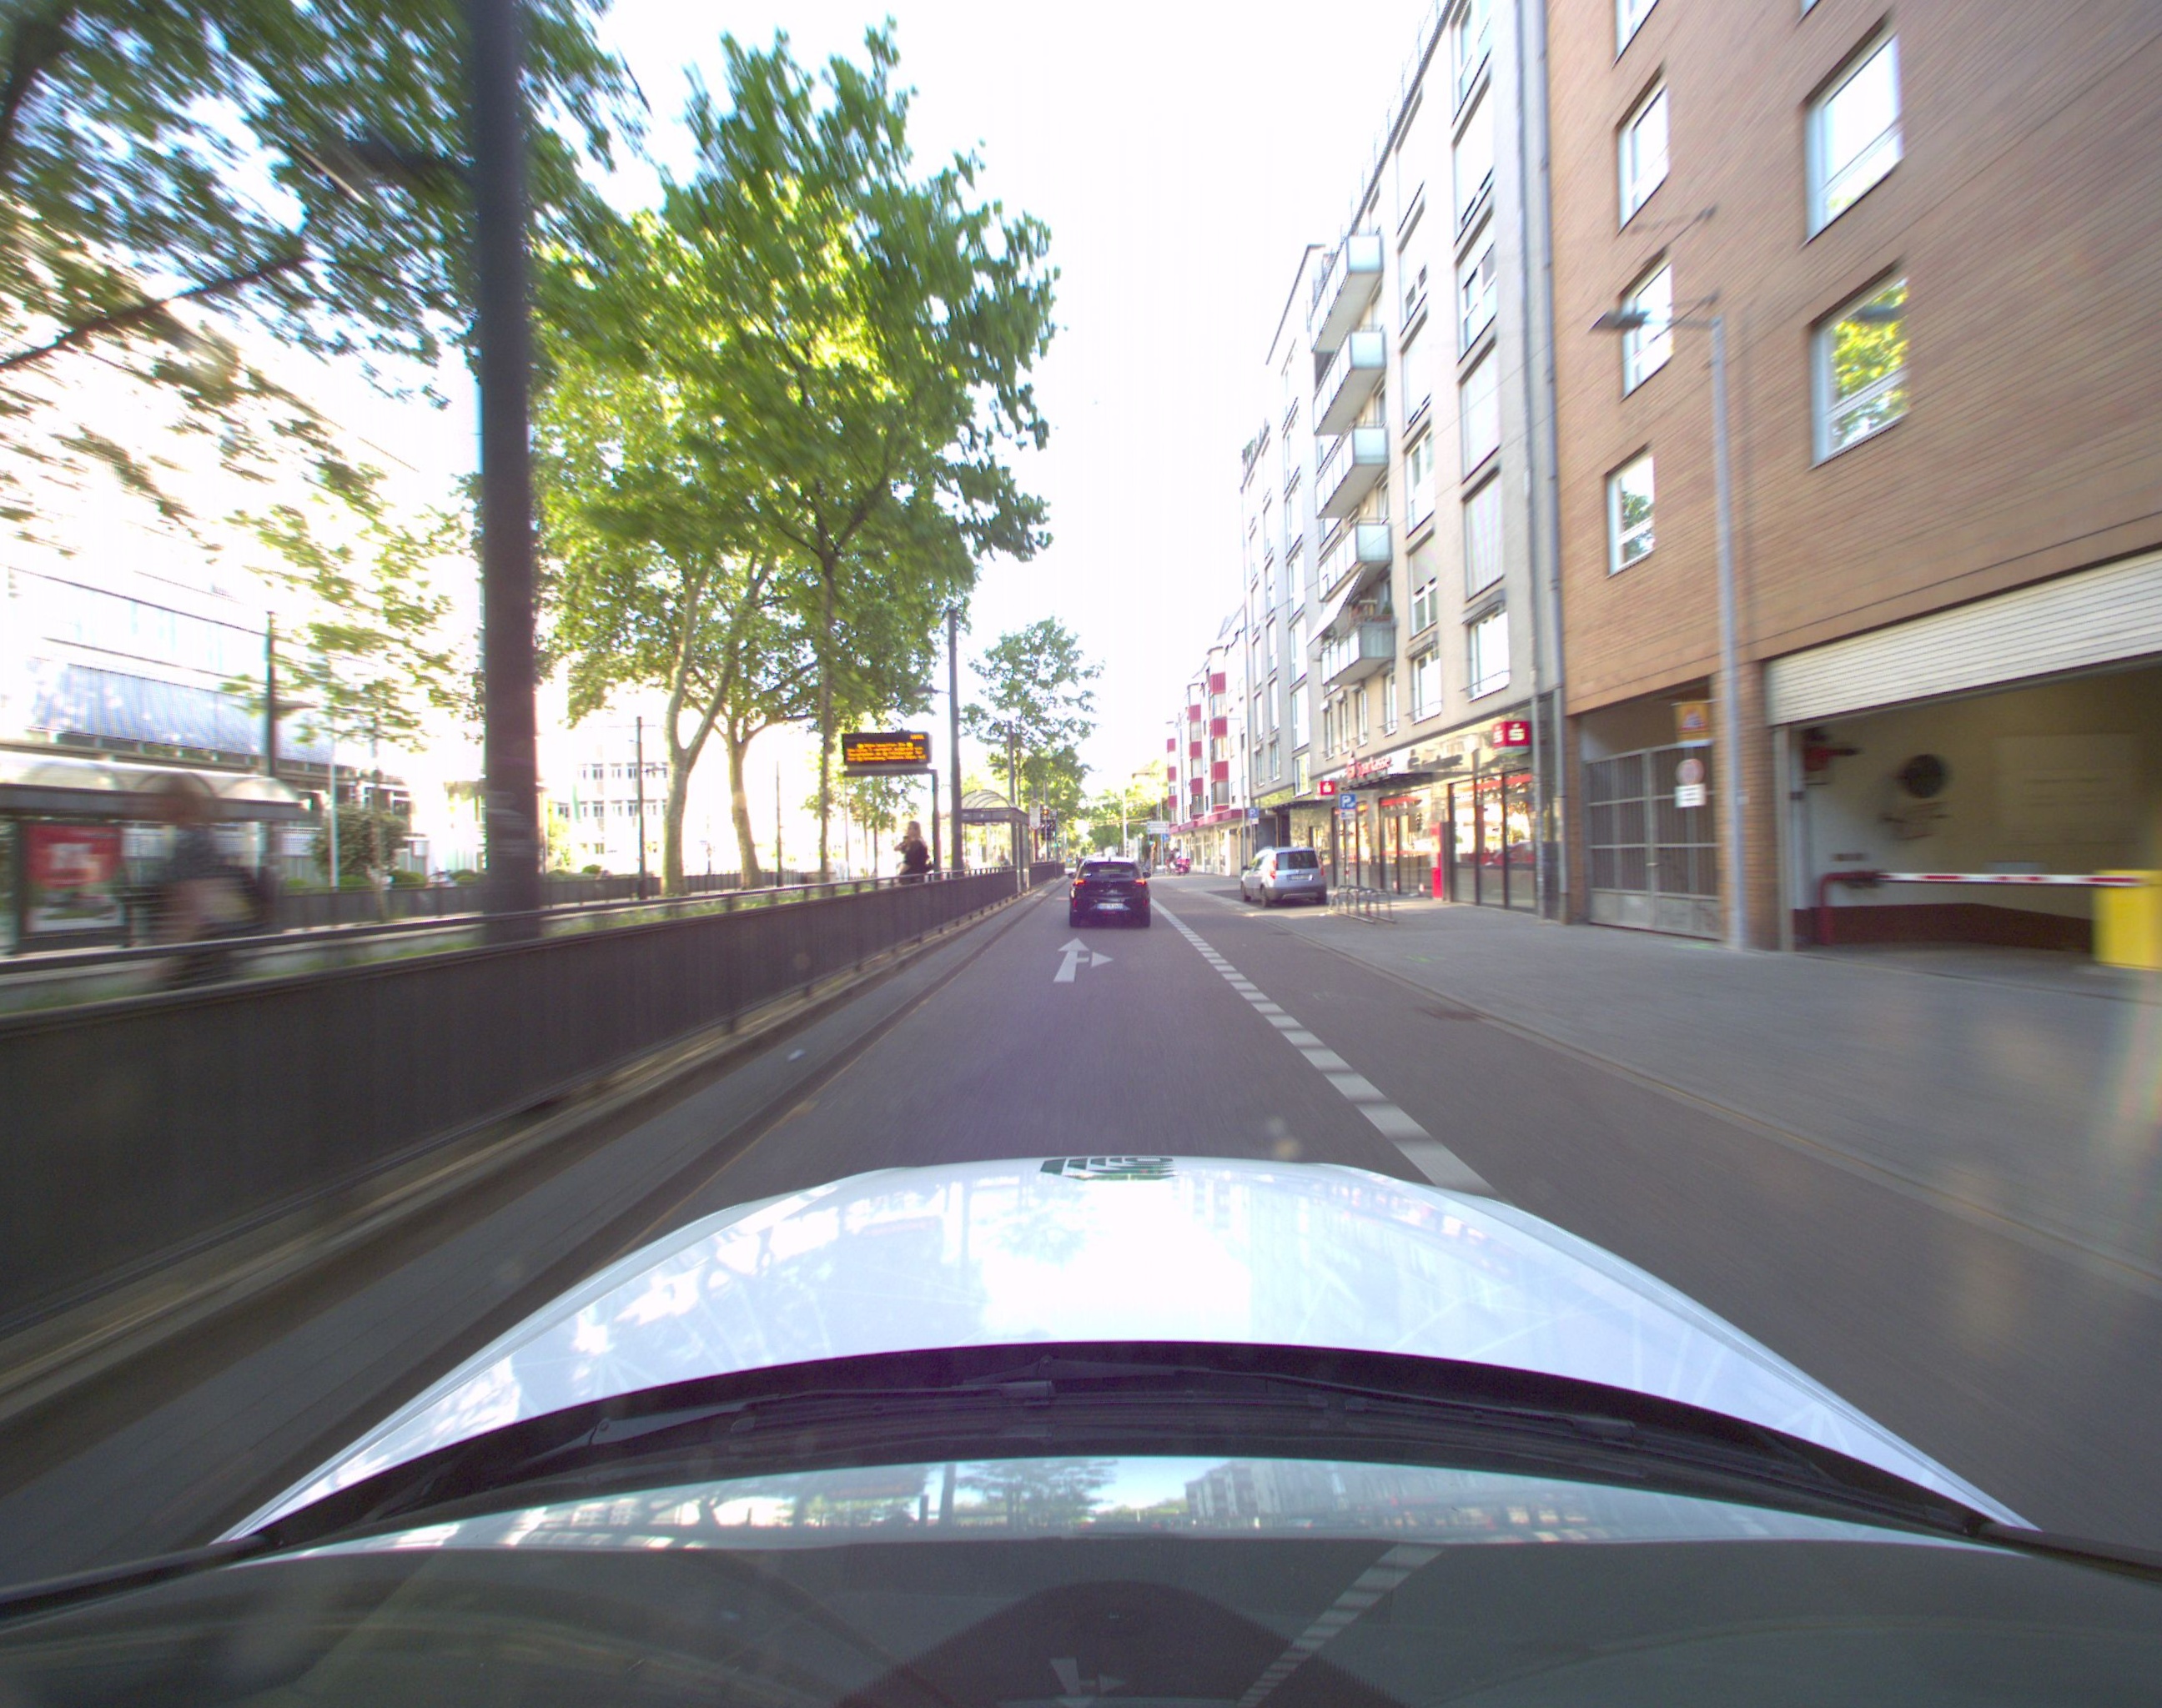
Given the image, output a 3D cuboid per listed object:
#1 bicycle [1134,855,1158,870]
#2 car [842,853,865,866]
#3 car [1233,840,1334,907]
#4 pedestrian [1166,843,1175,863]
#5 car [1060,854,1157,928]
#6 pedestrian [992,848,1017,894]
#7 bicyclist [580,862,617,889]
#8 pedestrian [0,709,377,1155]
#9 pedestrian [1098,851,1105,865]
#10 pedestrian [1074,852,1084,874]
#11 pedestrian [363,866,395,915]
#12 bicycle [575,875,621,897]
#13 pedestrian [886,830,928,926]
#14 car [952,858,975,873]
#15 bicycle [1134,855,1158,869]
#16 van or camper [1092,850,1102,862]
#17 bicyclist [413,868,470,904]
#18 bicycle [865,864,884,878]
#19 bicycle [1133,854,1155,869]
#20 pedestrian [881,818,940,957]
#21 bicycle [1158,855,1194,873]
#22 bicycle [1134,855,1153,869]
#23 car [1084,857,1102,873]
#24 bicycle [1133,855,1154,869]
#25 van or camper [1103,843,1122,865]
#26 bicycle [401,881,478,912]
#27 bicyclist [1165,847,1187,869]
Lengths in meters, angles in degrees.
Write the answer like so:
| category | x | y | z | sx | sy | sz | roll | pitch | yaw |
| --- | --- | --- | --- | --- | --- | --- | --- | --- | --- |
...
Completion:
| category | x | y | z | sx | sy | sz | roll | pitch | yaw |
| --- | --- | --- | --- | --- | --- | --- | --- | --- | --- |
| bicycle | 5.524 | 0.690 | 69.148 | 1.973 | 1.199 | 0.590 | -1 | -1 | -4 |
| car | -36.406 | 0.810 | 130.505 | 1.984 | 2.013 | 4.731 | -2 | 0 | 5 |
| car | 5.681 | 0.514 | 23.389 | 1.826 | 1.622 | 4.285 | -4 | 0 | 1 |
| pedestrian | 8.414 | -0.054 | 76.867 | 0.720 | 1.858 | 0.801 | -1 | 0 | 0 |
| car | 0.594 | 0.741 | 18.342 | 1.898 | 1.425 | 4.216 | -1 | 0 | 1 |
| pedestrian | -2.263 | 0.501 | 24.083 | 0.624 | 1.319 | 0.801 | -1 | 0 | 1 |
| bicyclist | -23.688 | 1.039 | 40.015 | 1.001 | 1.250 | 1.373 | 0 | 0 | -2 |
| pedestrian | -3.822 | 0.299 | 3.553 | 0.726 | 1.702 | 0.863 | -1 | 0 | 3 |
| pedestrian | 3.028 | 0.516 | 119.188 | 1.033 | 2.024 | 1.212 | -1 | 0 | -1 |
| pedestrian | -0.147 | 0.712 | 63.685 | 0.730 | 1.746 | 0.713 | -1 | 0 | 5 |
| pedestrian | -29.343 | 1.514 | 34.040 | 0.604 | 1.976 | 0.833 | 0 | 0 | -2 |
| bicycle | -23.689 | 1.552 | 40.017 | 0.798 | 0.997 | 2.584 | 0 | 0 | -1 |
| pedestrian | -3.486 | 0.467 | 16.380 | 0.643 | 1.871 | 0.753 | -1 | 0 | 1 |
| car | -16.147 | 1.511 | 112.195 | 1.983 | 1.947 | 4.433 | -1 | 0 | 7 |
| bicycle | 5.486 | 0.657 | 68.509 | 1.935 | 1.170 | 0.571 | -1 | -1 | -3 |
| van or camper | 3.876 | 0.546 | 199.238 | 2.477 | 2.993 | 5.435 | 1 | 0 | 1 |
| bicyclist | -23.302 | 1.135 | 29.691 | 1.001 | 1.250 | 1.373 | 0 | 0 | -2 |
| bicycle | -15.276 | 1.244 | 60.313 | 0.808 | 0.946 | 1.729 | -1 | 0 | 6 |
| bicycle | 5.437 | 0.671 | 70.016 | 1.823 | 1.221 | 0.496 | -1 | 0 | 3 |
| pedestrian | -2.399 | 0.460 | 11.529 | 0.644 | 1.887 | 0.661 | -1 | 0 | 1 |
| bicycle | 6.614 | 0.696 | 56.813 | 0.968 | 1.183 | 2.569 | -1 | 0 | -37 |
| bicycle | 5.397 | 0.695 | 70.587 | 1.615 | 1.199 | 0.497 | -2 | -1 | 4 |
| car | 1.343 | 1.124 | 87.664 | 1.826 | 1.623 | 4.285 | -1 | 0 | 1 |
| bicycle | 5.437 | 0.686 | 71.334 | 1.793 | 1.199 | 0.546 | -2 | -2 | 4 |
| van or camper | 4.815 | -0.005 | 125.696 | 2.368 | 3.125 | 7.548 | -4 | 0 | -1 |
| bicycle | -23.302 | 1.530 | 29.642 | 0.798 | 0.997 | 2.584 | 0 | 0 | -1 |
| bicyclist | 6.640 | 0.274 | 56.776 | 1.065 | 1.540 | 1.067 | -1 | 0 | -37 |
